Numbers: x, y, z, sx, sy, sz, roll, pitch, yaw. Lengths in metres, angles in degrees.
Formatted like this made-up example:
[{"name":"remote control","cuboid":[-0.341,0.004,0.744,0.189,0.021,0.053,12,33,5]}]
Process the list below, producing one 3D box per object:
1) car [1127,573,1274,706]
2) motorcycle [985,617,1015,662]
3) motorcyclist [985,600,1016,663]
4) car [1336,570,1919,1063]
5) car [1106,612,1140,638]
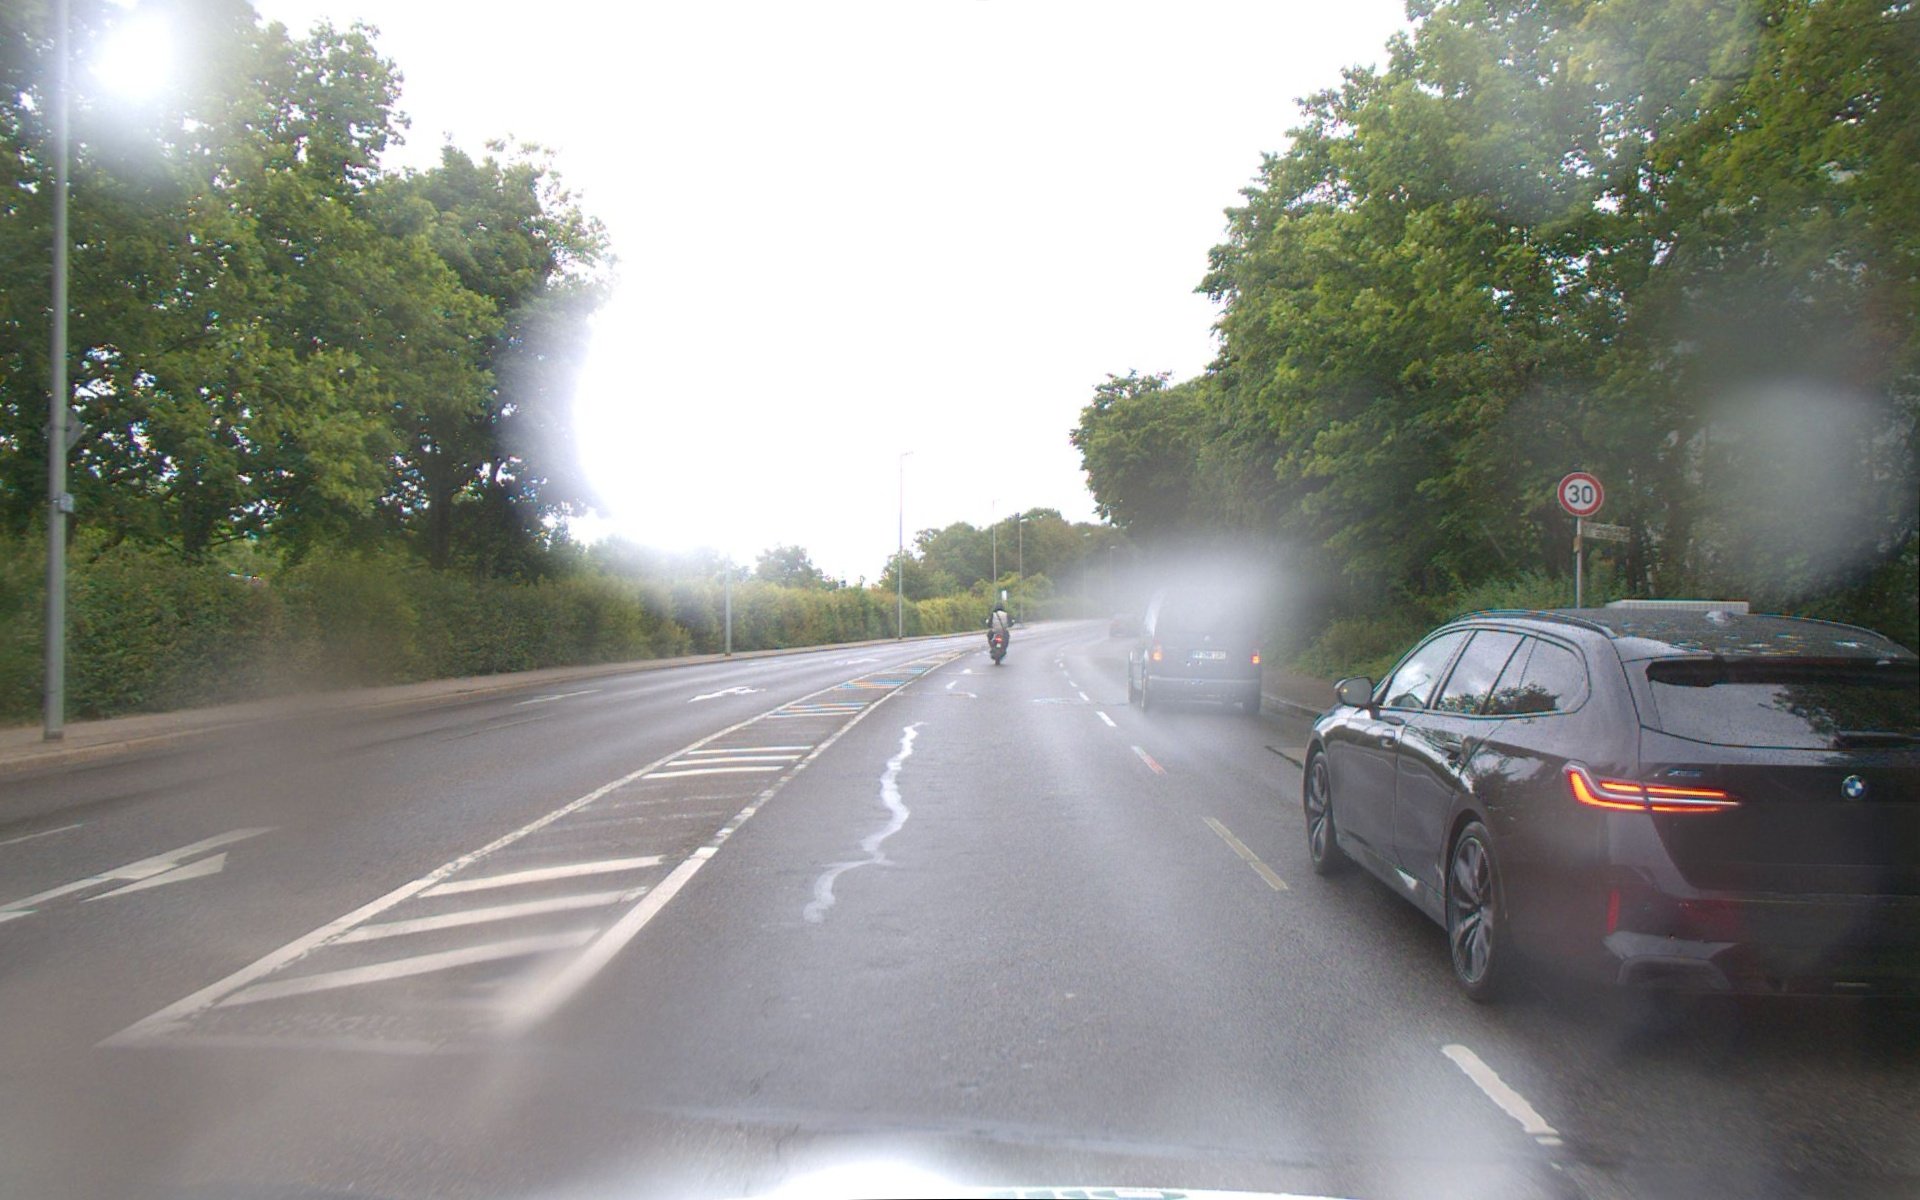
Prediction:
[{"name":"car","cuboid":[3.599,0.525,25.387,1.730,1.841,3.906,1,1,1]},{"name":"motorcycle","cuboid":[1.099,1.066,44.908,0.726,1.139,1.427,1,1,4]},{"name":"motorcyclist","cuboid":[1.105,0.849,44.905,0.827,1.676,0.468,0,1,4]},{"name":"car","cuboid":[2.880,0.687,7.124,1.728,1.563,3.673,1,0,1]},{"name":"car","cuboid":[10.296,1.574,104.350,1.972,1.440,4.490,1,1,7]}]
